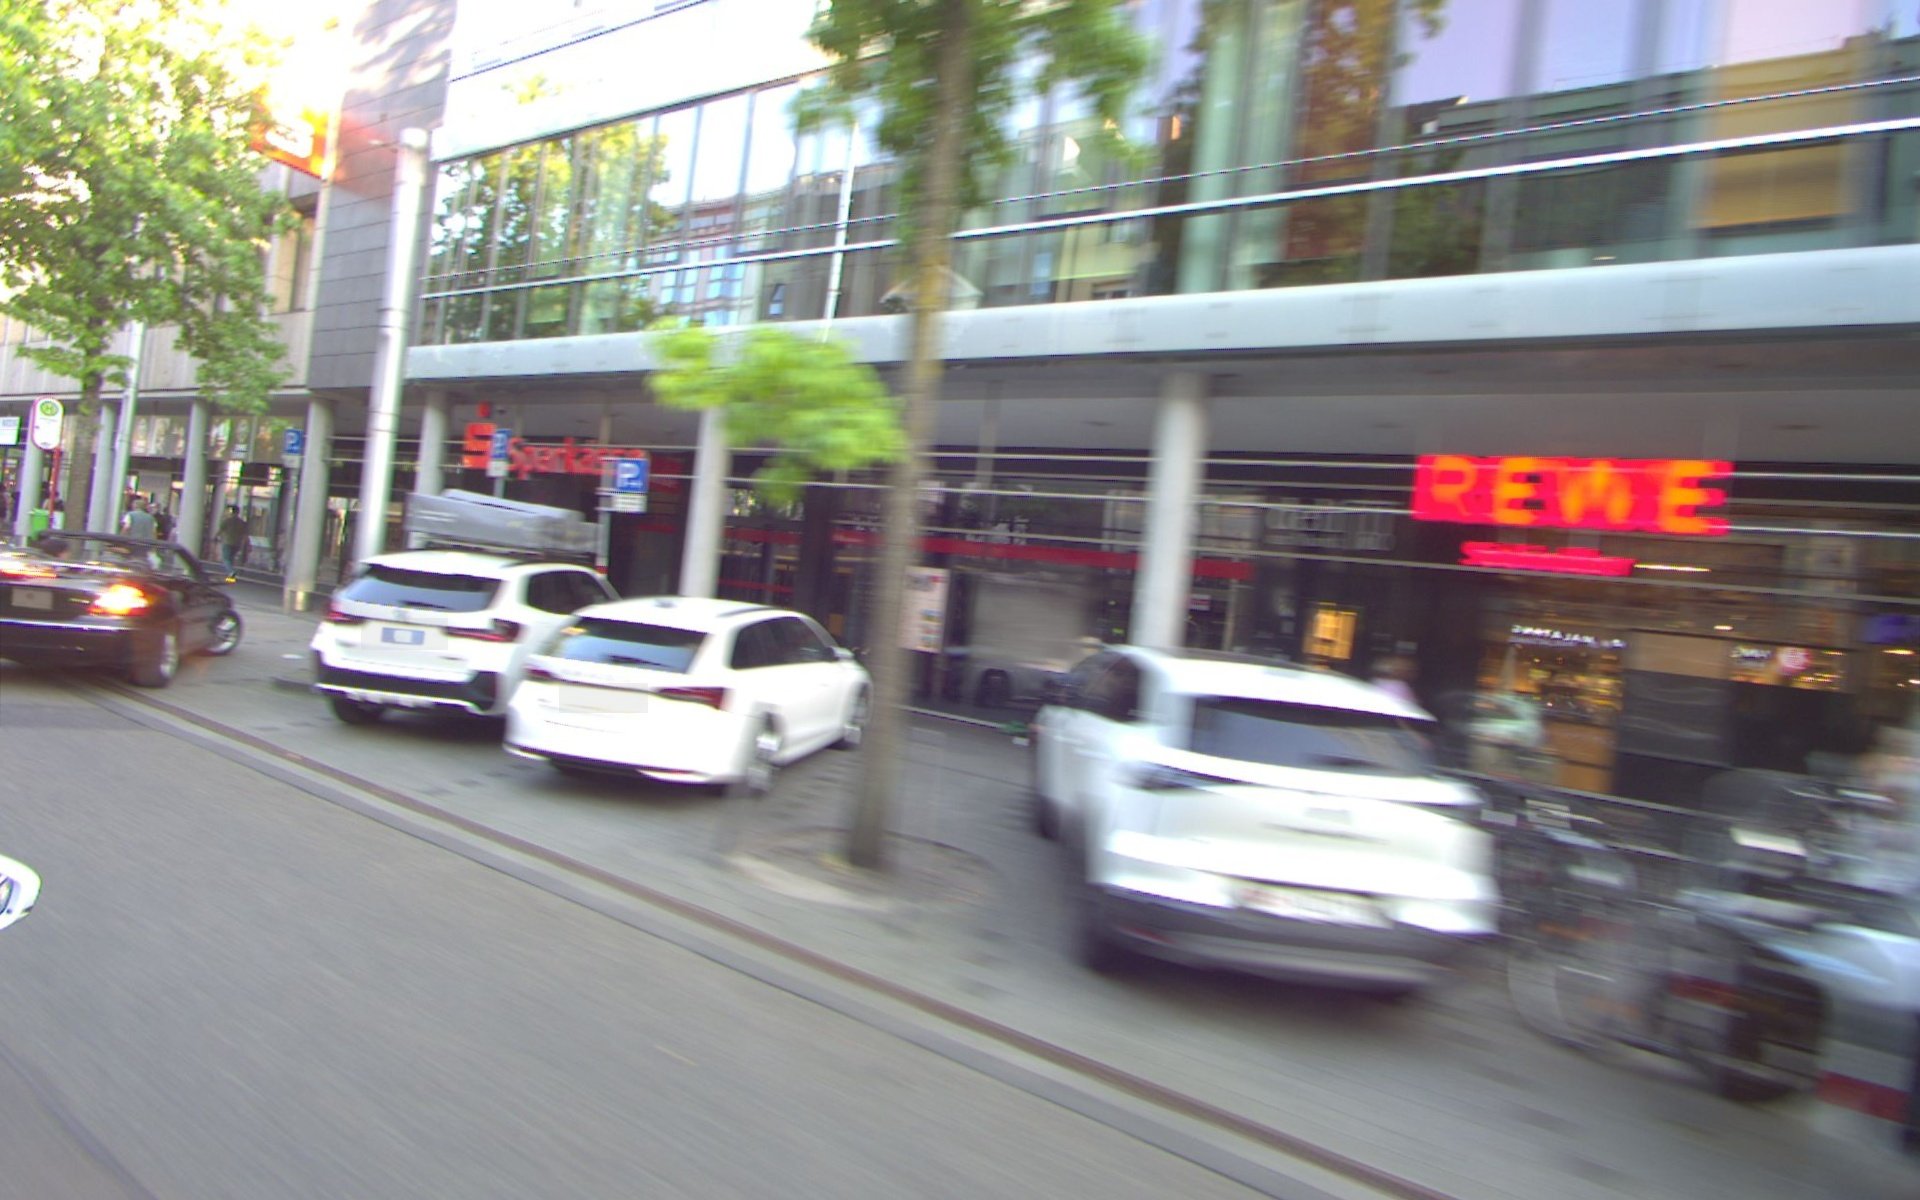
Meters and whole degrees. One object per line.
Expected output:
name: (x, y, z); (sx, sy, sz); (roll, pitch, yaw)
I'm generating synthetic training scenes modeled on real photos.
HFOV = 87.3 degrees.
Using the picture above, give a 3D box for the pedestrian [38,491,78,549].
pedestrian: (-27.114, -2.402, 30.246); (0.815, 1.637, 0.596); (8, 2, 33)

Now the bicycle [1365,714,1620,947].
bicycle: (3.564, 1.490, 6.960); (0.918, 1.131, 1.750); (7, 0, 9)

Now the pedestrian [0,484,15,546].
pedestrian: (-30.175, -2.686, 31.460); (0.815, 1.863, 0.596); (8, 2, 33)

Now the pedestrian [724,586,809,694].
pedestrian: (-2.978, 0.615, 15.479); (0.957, 1.545, 0.660); (6, -1, 35)

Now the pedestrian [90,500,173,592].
pedestrian: (-16.034, -1.037, 19.477); (0.743, 1.599, 0.879); (8, -1, 32)

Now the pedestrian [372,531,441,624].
pedestrian: (-10.561, -0.424, 19.194); (1.005, 1.637, 0.596); (8, 2, 32)

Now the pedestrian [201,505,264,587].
pedestrian: (-17.984, -1.338, 24.863); (0.928, 1.859, 0.833); (8, 1, 32)

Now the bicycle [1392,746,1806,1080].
bicycle: (3.183, 1.507, 5.291); (0.902, 1.131, 1.749); (7, 0, -2)

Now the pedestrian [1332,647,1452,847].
pedestrian: (4.089, 1.359, 9.504); (0.792, 1.719, 0.681); (6, -1, 32)

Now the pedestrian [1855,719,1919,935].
pedestrian: (7.421, 1.736, 7.673); (0.654, 1.566, 0.681); (6, -1, 32)

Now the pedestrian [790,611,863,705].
pedestrian: (-1.990, 0.865, 15.011); (0.721, 1.306, 0.634); (6, -1, 35)

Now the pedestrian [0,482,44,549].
pedestrian: (-29.102, -2.623, 30.935); (0.914, 1.901, 1.054); (8, 2, 32)

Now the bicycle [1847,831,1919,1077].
bicycle: (4.732, 1.729, 4.203); (0.543, 1.048, 1.595); (7, 3, 3)

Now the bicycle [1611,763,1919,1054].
bicycle: (4.862, 1.712, 5.926); (0.828, 1.131, 1.791); (7, 0, 3)

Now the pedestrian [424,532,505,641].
pedestrian: (-8.831, -0.226, 17.937); (0.743, 1.805, 0.878); (8, 2, 32)

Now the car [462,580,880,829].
car: (-2.167, 0.700, 8.909); (1.828, 1.476, 4.184); (6, 1, 9)

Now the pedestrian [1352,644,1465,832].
pedestrian: (4.509, 1.358, 10.101); (0.792, 1.719, 0.663); (6, -1, 32)

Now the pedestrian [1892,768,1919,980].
pedestrian: (6.552, 1.522, 6.269); (0.781, 1.836, 0.656); (6, 1, -23)

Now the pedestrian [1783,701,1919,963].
pedestrian: (6.744, 1.668, 7.389); (0.792, 1.719, 0.681); (9, 0, 32)

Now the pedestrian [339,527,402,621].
pedestrian: (-11.012, -0.476, 18.792); (0.743, 1.637, 0.596); (8, 2, 32)

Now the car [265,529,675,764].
car: (-4.502, 0.343, 10.112); (1.885, 1.659, 4.205); (7, 1, 1)

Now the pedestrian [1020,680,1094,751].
pedestrian: (1.242, 1.467, 12.846); (0.654, 0.791, 0.607); (6, -1, 35)

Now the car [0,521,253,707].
car: (-8.667, 0.023, 10.151); (1.787, 1.364, 4.415); (8, -1, -27)

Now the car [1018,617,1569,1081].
car: (1.479, 1.064, 6.275); (1.842, 1.583, 4.341); (6, 1, 0)

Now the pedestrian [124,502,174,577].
pedestrian: (-19.030, -1.423, 23.617); (0.743, 1.637, 0.596); (8, 2, 33)

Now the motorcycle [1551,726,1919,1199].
motorcycle: (3.251, 1.367, 3.350); (0.783, 1.490, 2.199); (7, 1, -11)
